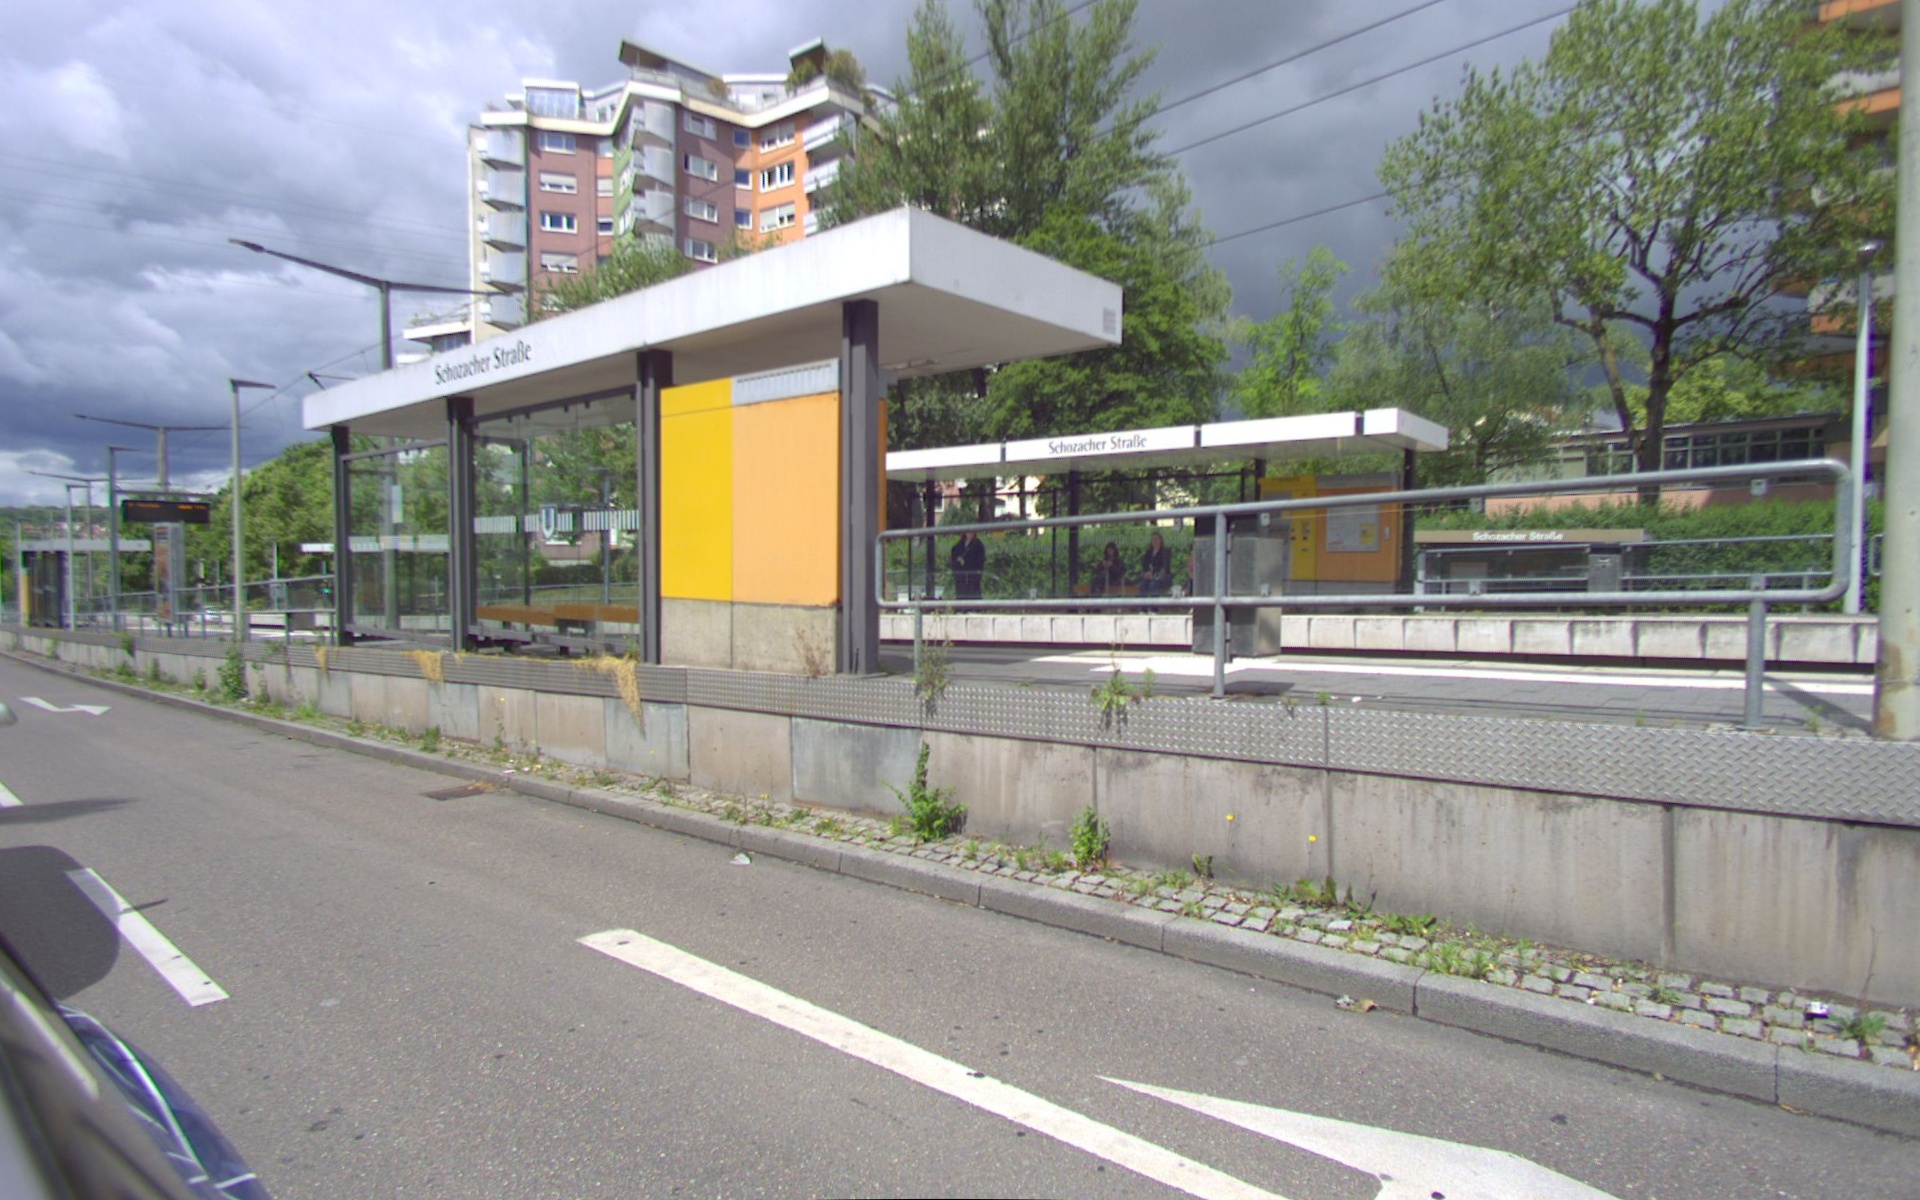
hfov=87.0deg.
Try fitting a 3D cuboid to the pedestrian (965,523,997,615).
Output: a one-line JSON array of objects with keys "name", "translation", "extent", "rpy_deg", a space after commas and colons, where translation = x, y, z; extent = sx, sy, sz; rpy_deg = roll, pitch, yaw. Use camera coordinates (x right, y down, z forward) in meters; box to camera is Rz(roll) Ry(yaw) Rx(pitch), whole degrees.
[{"name": "pedestrian", "translation": [0.394, -0.583, 19.132], "extent": [0.544, 1.726, 0.386], "rpy_deg": [-1, 0, -2]}]

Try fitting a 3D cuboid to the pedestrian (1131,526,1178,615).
[{"name": "pedestrian", "translation": [3.208, -0.480, 16.683], "extent": [0.463, 1.428, 0.704], "rpy_deg": [-1, 0, 40]}]

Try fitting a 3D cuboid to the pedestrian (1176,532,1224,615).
[{"name": "pedestrian", "translation": [3.832, -0.418, 16.129], "extent": [0.463, 1.287, 0.704], "rpy_deg": [-1, 0, 40]}]

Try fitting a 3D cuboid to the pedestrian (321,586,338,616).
[{"name": "pedestrian", "translation": [-27.118, 0.035, 43.551], "extent": [0.528, 1.287, 0.562], "rpy_deg": [-1, 0, -41]}]

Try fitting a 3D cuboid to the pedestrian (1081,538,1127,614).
[{"name": "pedestrian", "translation": [2.493, -0.401, 17.483], "extent": [0.463, 1.287, 0.704], "rpy_deg": [-1, 0, 40]}]

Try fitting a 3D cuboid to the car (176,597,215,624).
[{"name": "car", "translation": [-60.451, 0.834, 80.000], "extent": [4.000, 2.029, 1.714], "rpy_deg": [-1, 0, 43]}]

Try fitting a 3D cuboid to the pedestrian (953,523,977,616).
[{"name": "pedestrian", "translation": [0.092, -0.575, 19.144], "extent": [0.421, 1.726, 0.353], "rpy_deg": [-1, 0, -1]}]
